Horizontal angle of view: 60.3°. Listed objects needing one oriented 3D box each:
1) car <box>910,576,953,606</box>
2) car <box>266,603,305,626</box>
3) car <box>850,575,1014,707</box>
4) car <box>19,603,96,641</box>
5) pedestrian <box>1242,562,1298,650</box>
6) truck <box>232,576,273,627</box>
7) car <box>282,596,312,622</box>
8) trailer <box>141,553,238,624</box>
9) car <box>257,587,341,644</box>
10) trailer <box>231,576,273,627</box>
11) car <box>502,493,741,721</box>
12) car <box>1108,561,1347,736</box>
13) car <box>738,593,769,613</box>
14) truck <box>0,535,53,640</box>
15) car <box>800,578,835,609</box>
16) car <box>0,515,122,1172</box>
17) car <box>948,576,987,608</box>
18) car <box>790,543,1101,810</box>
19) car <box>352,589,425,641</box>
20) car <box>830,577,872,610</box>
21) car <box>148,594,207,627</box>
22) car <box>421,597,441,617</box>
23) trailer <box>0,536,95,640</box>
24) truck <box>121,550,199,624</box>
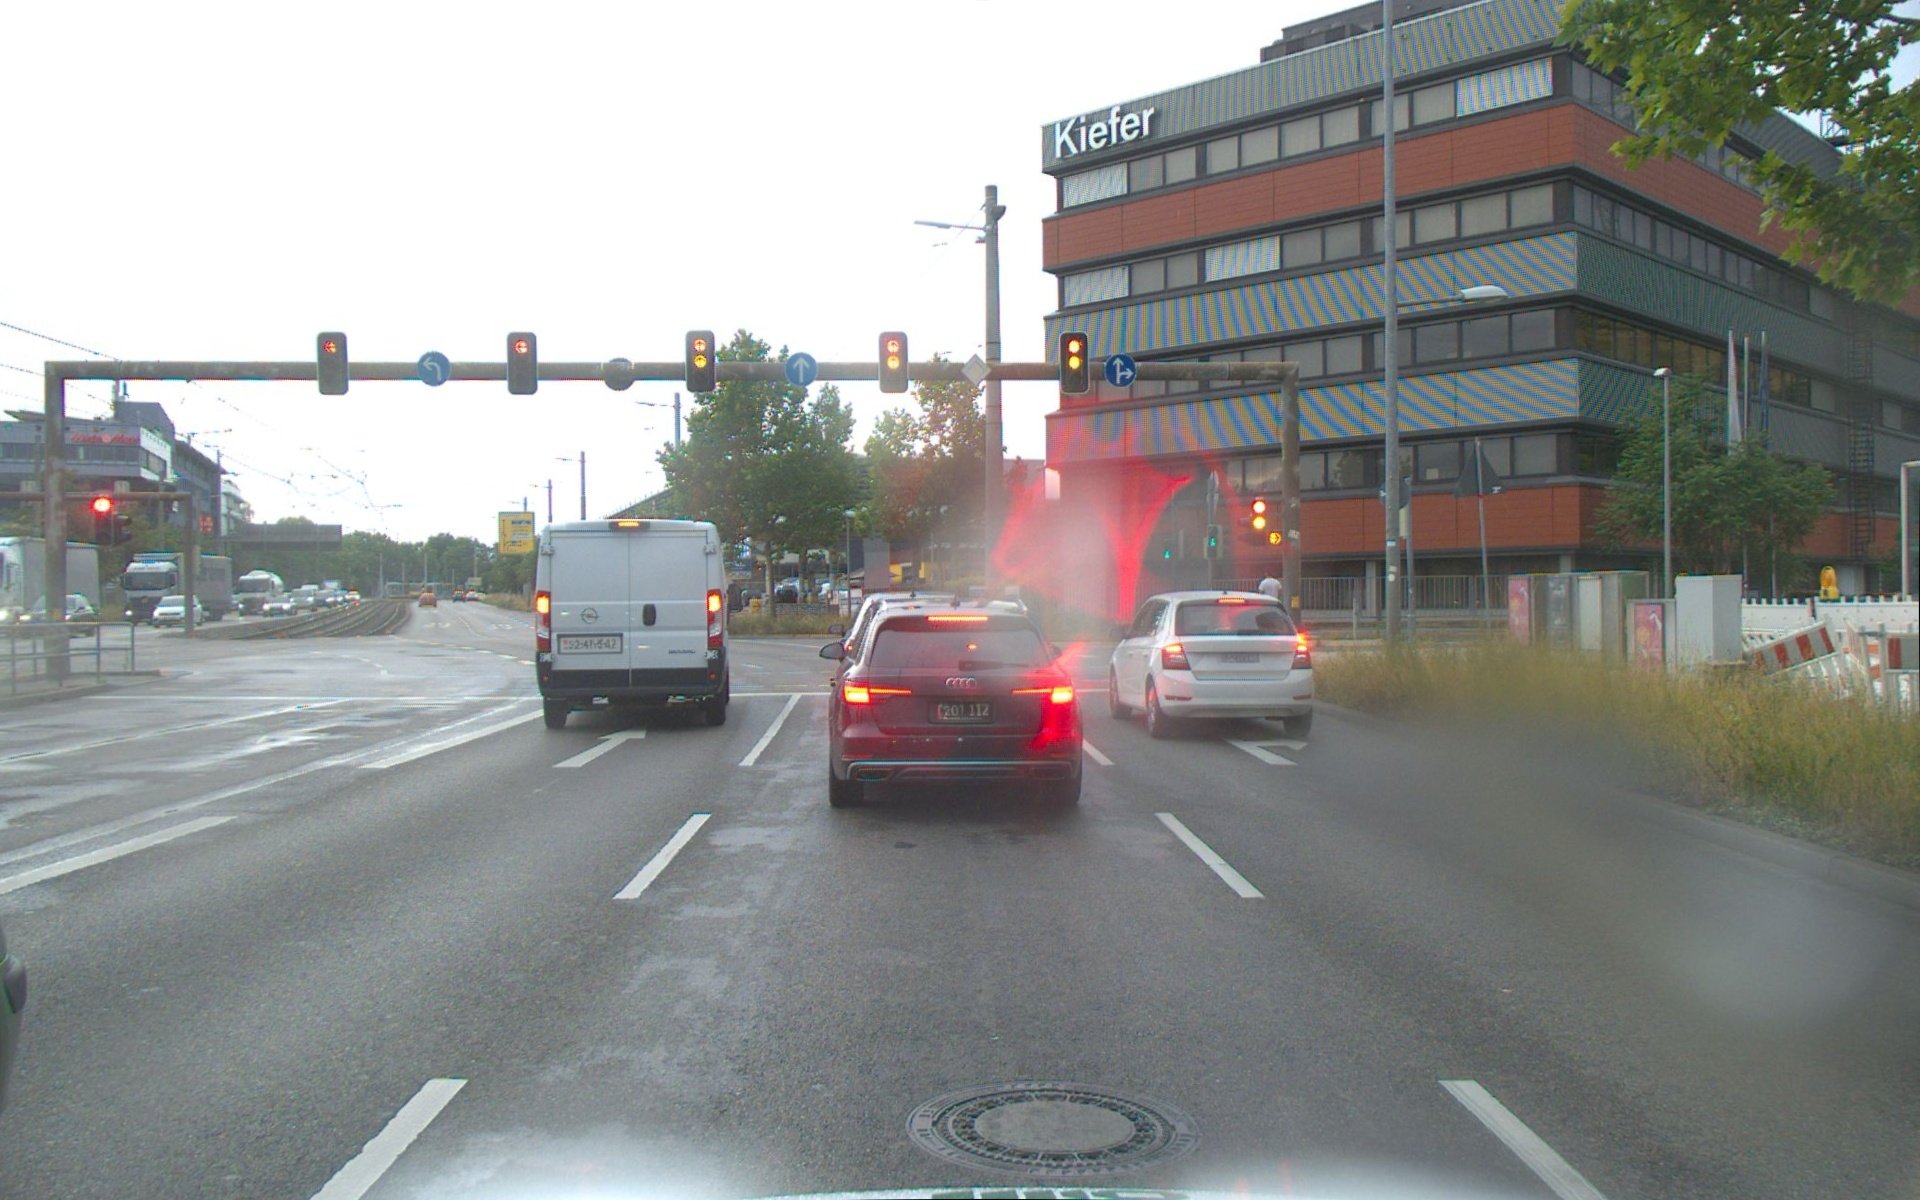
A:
[{"bbox_3d":[-2.058,-0.633,118.207,1.844,2.049,3.748,2,-1,-22],"label":"car"},{"bbox_3d":[-48.855,1.049,119.794,1.870,1.582,4.550,2,-1,-13],"label":"car"},{"bbox_3d":[-0.310,0.493,20.737,1.855,1.491,3.909,0,-1,0],"label":"car"},{"bbox_3d":[-34.764,0.842,63.812,1.879,1.286,4.389,2,0,-19],"label":"car"},{"bbox_3d":[7.801,0.133,41.686,1.120,2.162,1.222,-1,1,-2],"label":"pedestrian"},{"bbox_3d":[-55.840,0.141,130.469,2.711,3.872,5.368,-2,0,-25],"label":"truck"},{"bbox_3d":[-54.886,0.733,137.041,1.963,1.869,4.883,3,1,-19],"label":"car"},{"bbox_3d":[-48.720,-0.656,105.045,2.603,4.197,12.708,-1,0,-11],"label":"trailer"},{"bbox_3d":[-25.305,0.556,63.480,1.738,2.049,4.343,2,0,-5],"label":"car"},{"bbox_3d":[-57.891,0.187,135.067,2.690,3.922,11.138,-2,0,-25],"label":"trailer"},{"bbox_3d":[-3.885,0.116,19.837,2.399,2.334,4.895,2,-1,-8],"label":"car"},{"bbox_3d":[2.777,0.501,18.033,1.792,1.685,3.997,0,-1,-3],"label":"car"},{"bbox_3d":[-17.131,0.221,136.875,1.764,1.619,3.978,-1,0,-19],"label":"car"},{"bbox_3d":[-39.053,-0.481,66.966,2.786,4.066,5.959,-1,0,-16],"label":"truck"},{"bbox_3d":[-9.901,-0.459,114.783,1.652,2.049,3.525,2,-1,-17],"label":"car"},{"bbox_3d":[-2.945,0.510,2.026,1.660,1.494,4.401,2,-1,-2],"label":"car"},{"bbox_3d":[0.452,-0.503,109.864,1.649,2.049,3.121,2,-1,-18],"label":"car"},{"bbox_3d":[-0.133,0.506,12.401,1.953,1.666,3.999,0,-1,-1],"label":"car"},{"bbox_3d":[-23.695,0.594,68.723,1.738,2.049,4.343,2,0,-5],"label":"car"},{"bbox_3d":[-7.005,-0.402,105.889,1.960,2.067,3.985,-1,0,-14],"label":"car"},{"bbox_3d":[-41.037,0.557,86.818,1.854,1.681,4.082,2,-1,-12],"label":"car"},{"bbox_3d":[-56.301,0.755,176.087,1.744,2.049,4.328,2,-1,-16],"label":"car"},{"bbox_3d":[-40.630,-0.506,72.362,2.750,4.179,11.389,-1,0,-17],"label":"trailer"},{"bbox_3d":[-47.277,-0.732,97.916,2.619,4.202,6.168,-1,-1,-11],"label":"truck"}]
